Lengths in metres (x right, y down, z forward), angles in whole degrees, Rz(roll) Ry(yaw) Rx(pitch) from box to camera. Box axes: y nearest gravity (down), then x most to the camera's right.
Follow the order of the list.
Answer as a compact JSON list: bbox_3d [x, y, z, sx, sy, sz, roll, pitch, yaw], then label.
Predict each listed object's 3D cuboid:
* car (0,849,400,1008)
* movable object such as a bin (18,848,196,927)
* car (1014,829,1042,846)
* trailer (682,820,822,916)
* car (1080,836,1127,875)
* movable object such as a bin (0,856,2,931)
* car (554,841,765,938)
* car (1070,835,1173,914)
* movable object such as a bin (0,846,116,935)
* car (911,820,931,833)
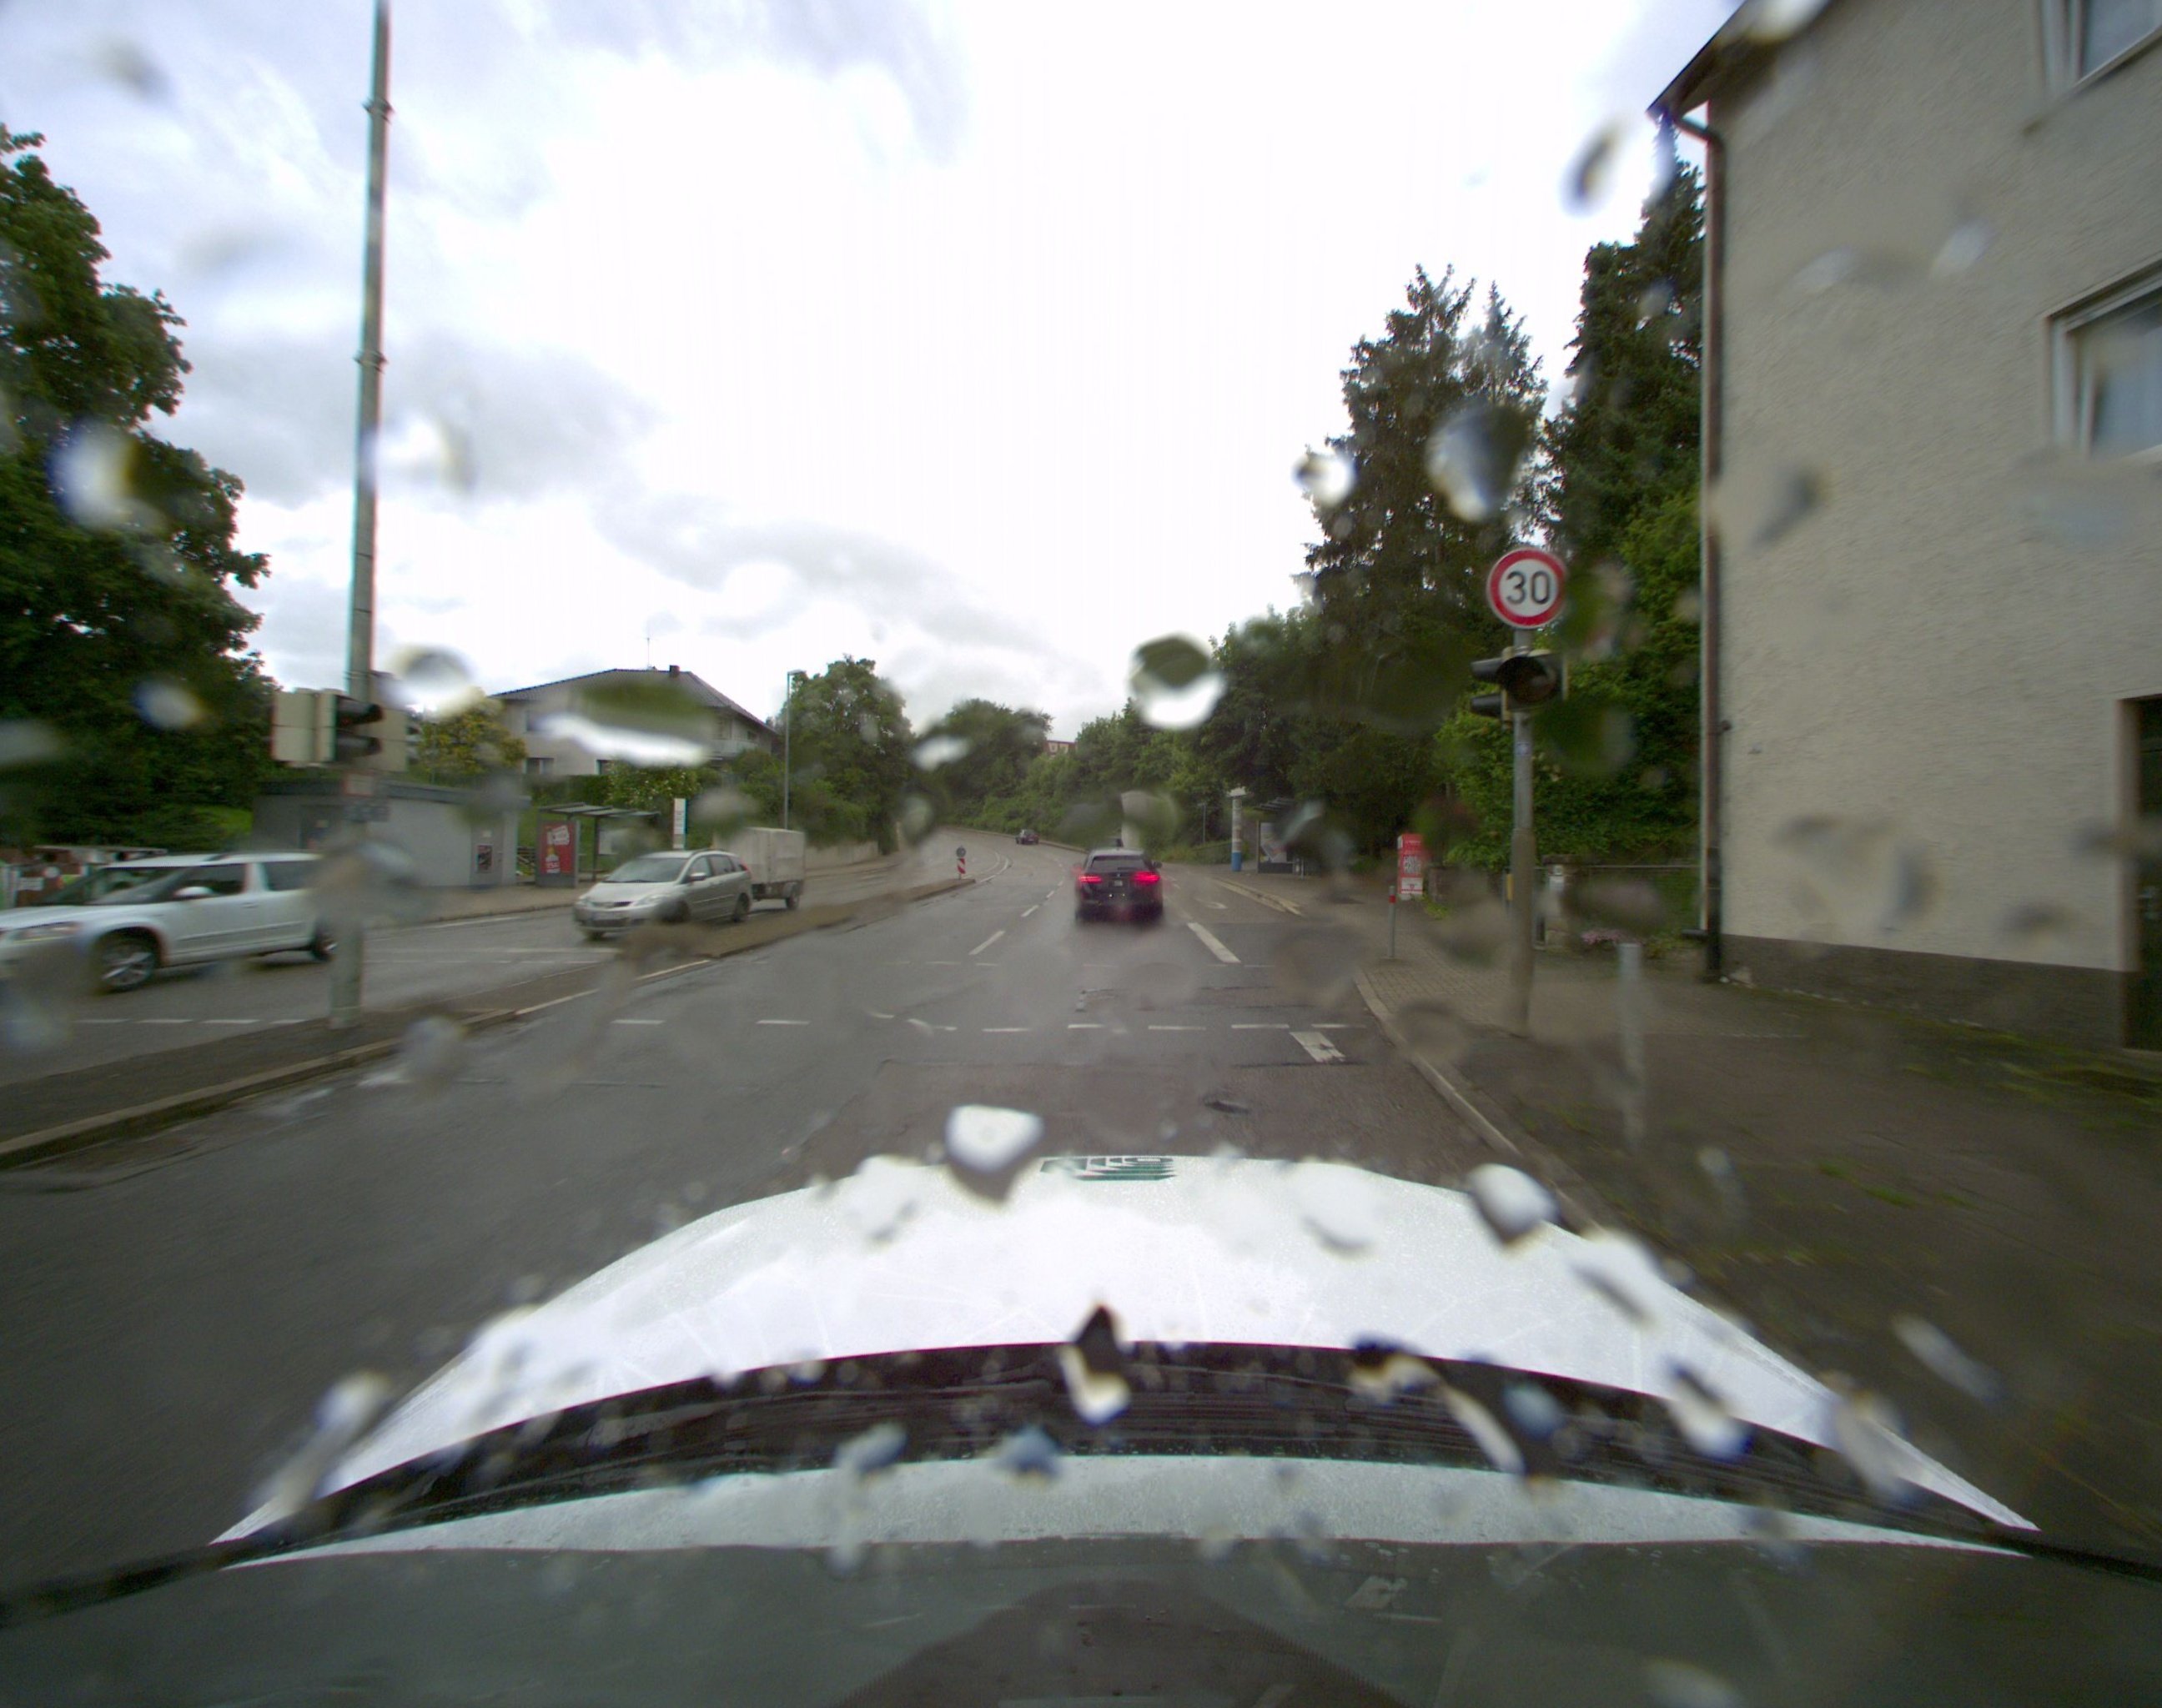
[{"bbox_3d":[-11.918,0.811,10.777,1.815,1.657,4.471,-1,-1,4],"label":"car"},{"bbox_3d":[-19.893,0.665,16.687,2.048,1.514,1.346,-1,1,4],"label":"movable object such as a bin"},{"bbox_3d":[-5.374,-1.658,82.489,1.856,1.662,3.975,1,0,-18],"label":"car"},{"bbox_3d":[-8.206,0.323,20.731,1.890,2.179,4.035,0,0,0],"label":"trailer"},{"bbox_3d":[1.050,0.014,40.128,1.989,1.748,3.997,-1,2,-3],"label":"car"},{"bbox_3d":[-20.110,0.598,13.621,2.048,1.568,1.583,-1,1,4],"label":"movable object such as a bin"},{"bbox_3d":[-8.210,0.583,16.443,1.893,1.683,4.479,0,1,0],"label":"car"},{"bbox_3d":[0.801,0.511,18.832,1.988,1.586,4.658,1,-2,-2],"label":"car"},{"bbox_3d":[-20.007,0.645,15.219,2.048,1.568,1.583,-1,1,4],"label":"movable object such as a bin"},{"bbox_3d":[-19.932,-3.438,101.421,1.897,1.487,4.208,-1,1,-19],"label":"car"}]
